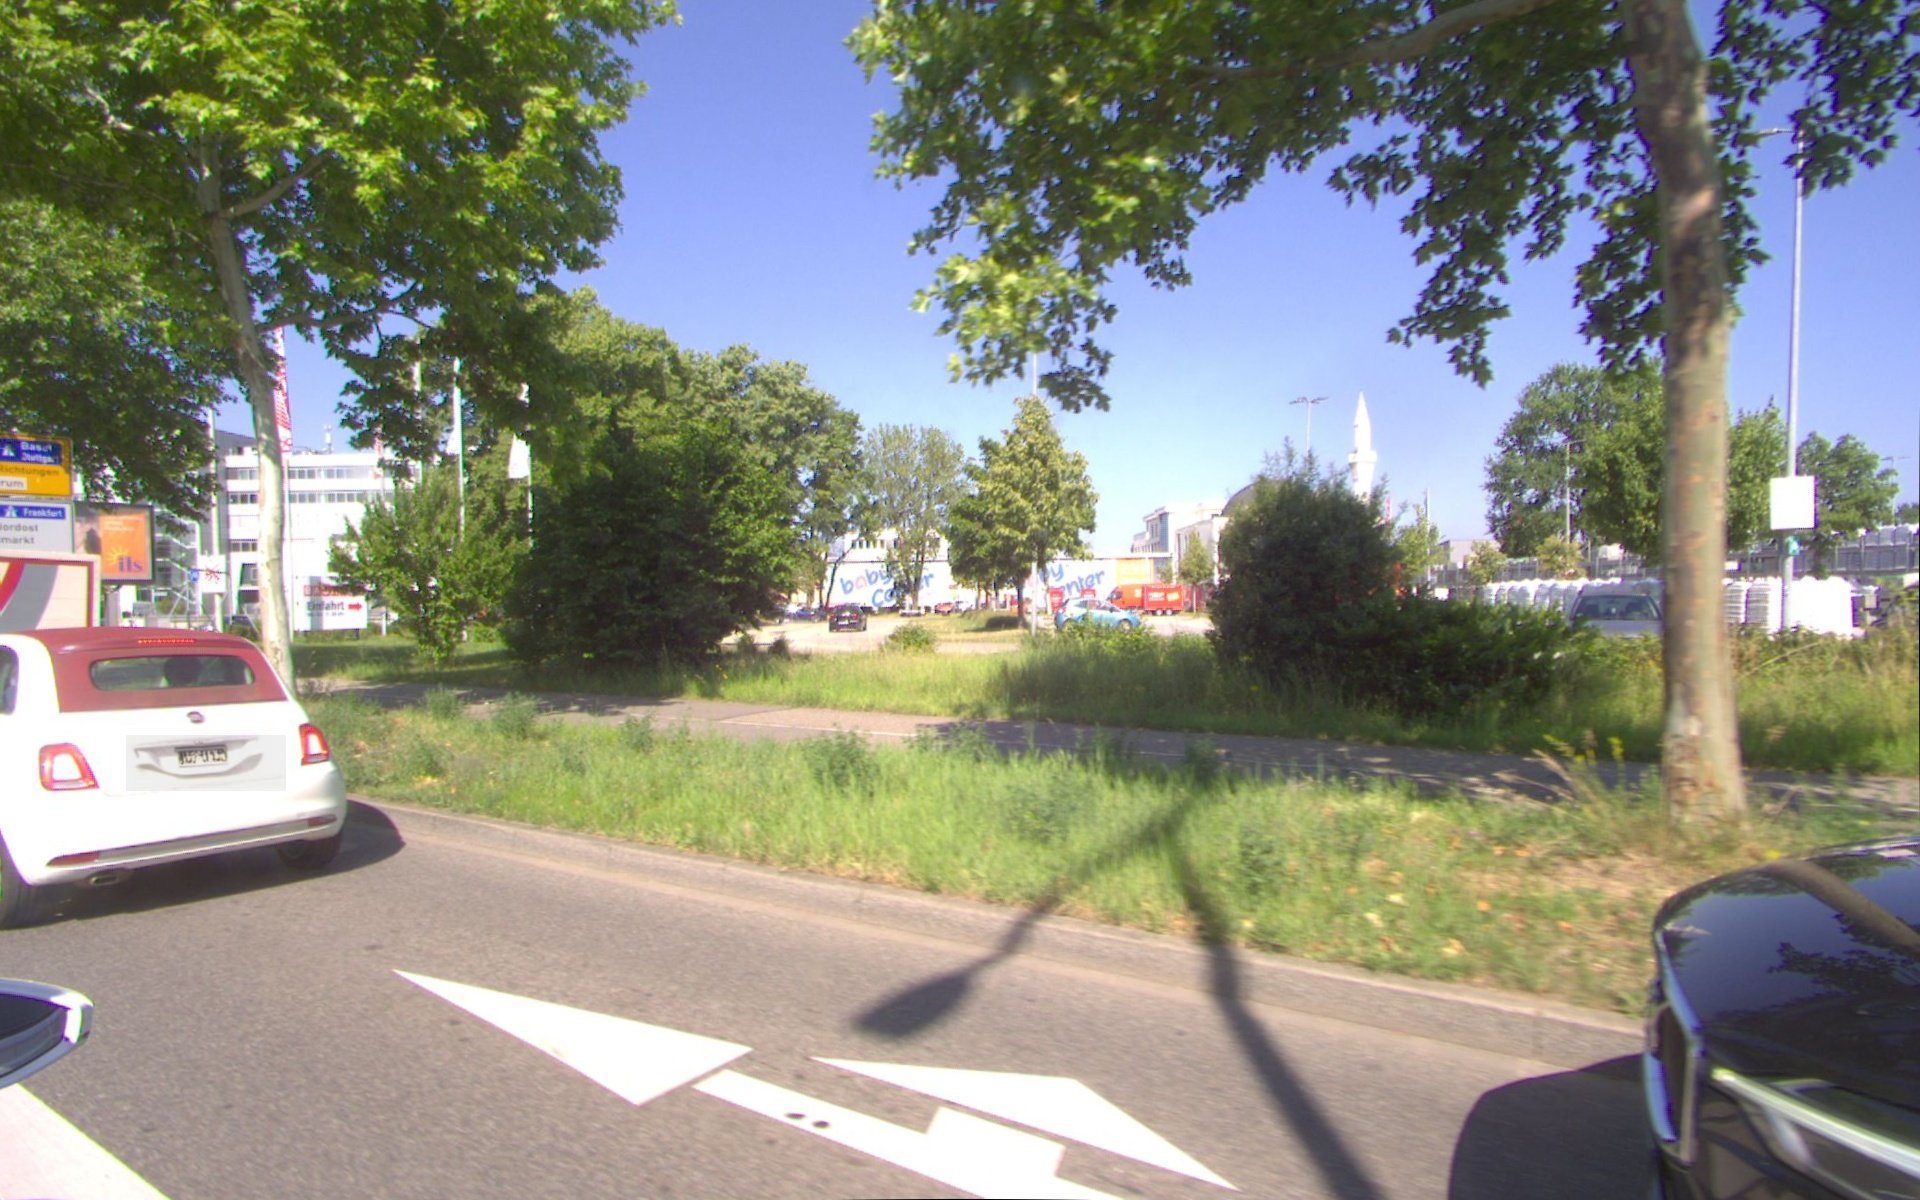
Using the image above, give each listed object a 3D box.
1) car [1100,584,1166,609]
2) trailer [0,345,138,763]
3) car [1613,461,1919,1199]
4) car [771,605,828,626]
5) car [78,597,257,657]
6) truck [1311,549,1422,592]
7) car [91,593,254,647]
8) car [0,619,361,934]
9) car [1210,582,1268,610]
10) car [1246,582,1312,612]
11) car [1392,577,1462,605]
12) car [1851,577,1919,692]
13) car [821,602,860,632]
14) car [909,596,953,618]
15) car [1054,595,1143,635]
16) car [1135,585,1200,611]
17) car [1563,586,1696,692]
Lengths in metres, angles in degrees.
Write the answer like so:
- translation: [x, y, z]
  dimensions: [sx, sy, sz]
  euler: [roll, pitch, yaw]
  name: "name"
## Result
- translation: [14.673, -0.324, 85.282]
  dimensions: [5.188, 2.040, 2.000]
  euler: [0, -1, -4]
  name: "car"
- translation: [-13.994, -0.308, 11.938]
  dimensions: [12.068, 3.789, 3.010]
  euler: [-1, -1, 33]
  name: "trailer"
- translation: [3.191, 0.663, 0.702]
  dimensions: [4.499, 1.643, 1.916]
  euler: [-1, -1, 32]
  name: "car"
- translation: [-11.770, 1.140, 73.600]
  dimensions: [3.922, 1.505, 1.722]
  euler: [0, -1, 1]
  name: "car"
- translation: [-23.783, 0.802, 30.162]
  dimensions: [1.701, 1.683, 3.973]
  euler: [-1, -2, 38]
  name: "car"
- translation: [32.227, -2.299, 79.501]
  dimensions: [8.068, 3.290, 2.000]
  euler: [0, -1, -2]
  name: "truck"
- translation: [-26.047, 0.660, 33.236]
  dimensions: [1.701, 1.683, 3.973]
  euler: [-1, -2, 38]
  name: "car"
- translation: [-5.465, 0.867, 6.258]
  dimensions: [3.472, 1.455, 1.657]
  euler: [-1, -1, 34]
  name: "car"
- translation: [21.228, -0.310, 76.352]
  dimensions: [3.922, 2.040, 2.001]
  euler: [0, -1, 2]
  name: "car"
- translation: [21.345, -0.191, 67.094]
  dimensions: [3.924, 1.884, 2.000]
  euler: [-1, -1, 10]
  name: "car"
- translation: [35.165, -0.646, 75.422]
  dimensions: [4.304, 2.040, 2.000]
  euler: [0, -1, -3]
  name: "car"
- translation: [15.630, 0.522, 15.604]
  dimensions: [1.692, 1.718, 3.547]
  euler: [-1, -1, 26]
  name: "car"
- translation: [-6.400, 0.903, 53.518]
  dimensions: [1.743, 1.534, 3.722]
  euler: [0, -1, -12]
  name: "car"
- translation: [-2.729, 0.645, 94.035]
  dimensions: [3.923, 2.040, 2.000]
  euler: [0, -1, -6]
  name: "car"
- translation: [5.741, 0.626, 41.733]
  dimensions: [3.387, 1.591, 1.745]
  euler: [0, -1, -2]
  name: "car"
- translation: [16.460, -0.150, 79.462]
  dimensions: [4.824, 1.906, 1.770]
  euler: [0, -1, 2]
  name: "car"
- translation: [11.981, 0.675, 18.108]
  dimensions: [1.693, 1.718, 3.544]
  euler: [-1, -1, 29]
  name: "car"
